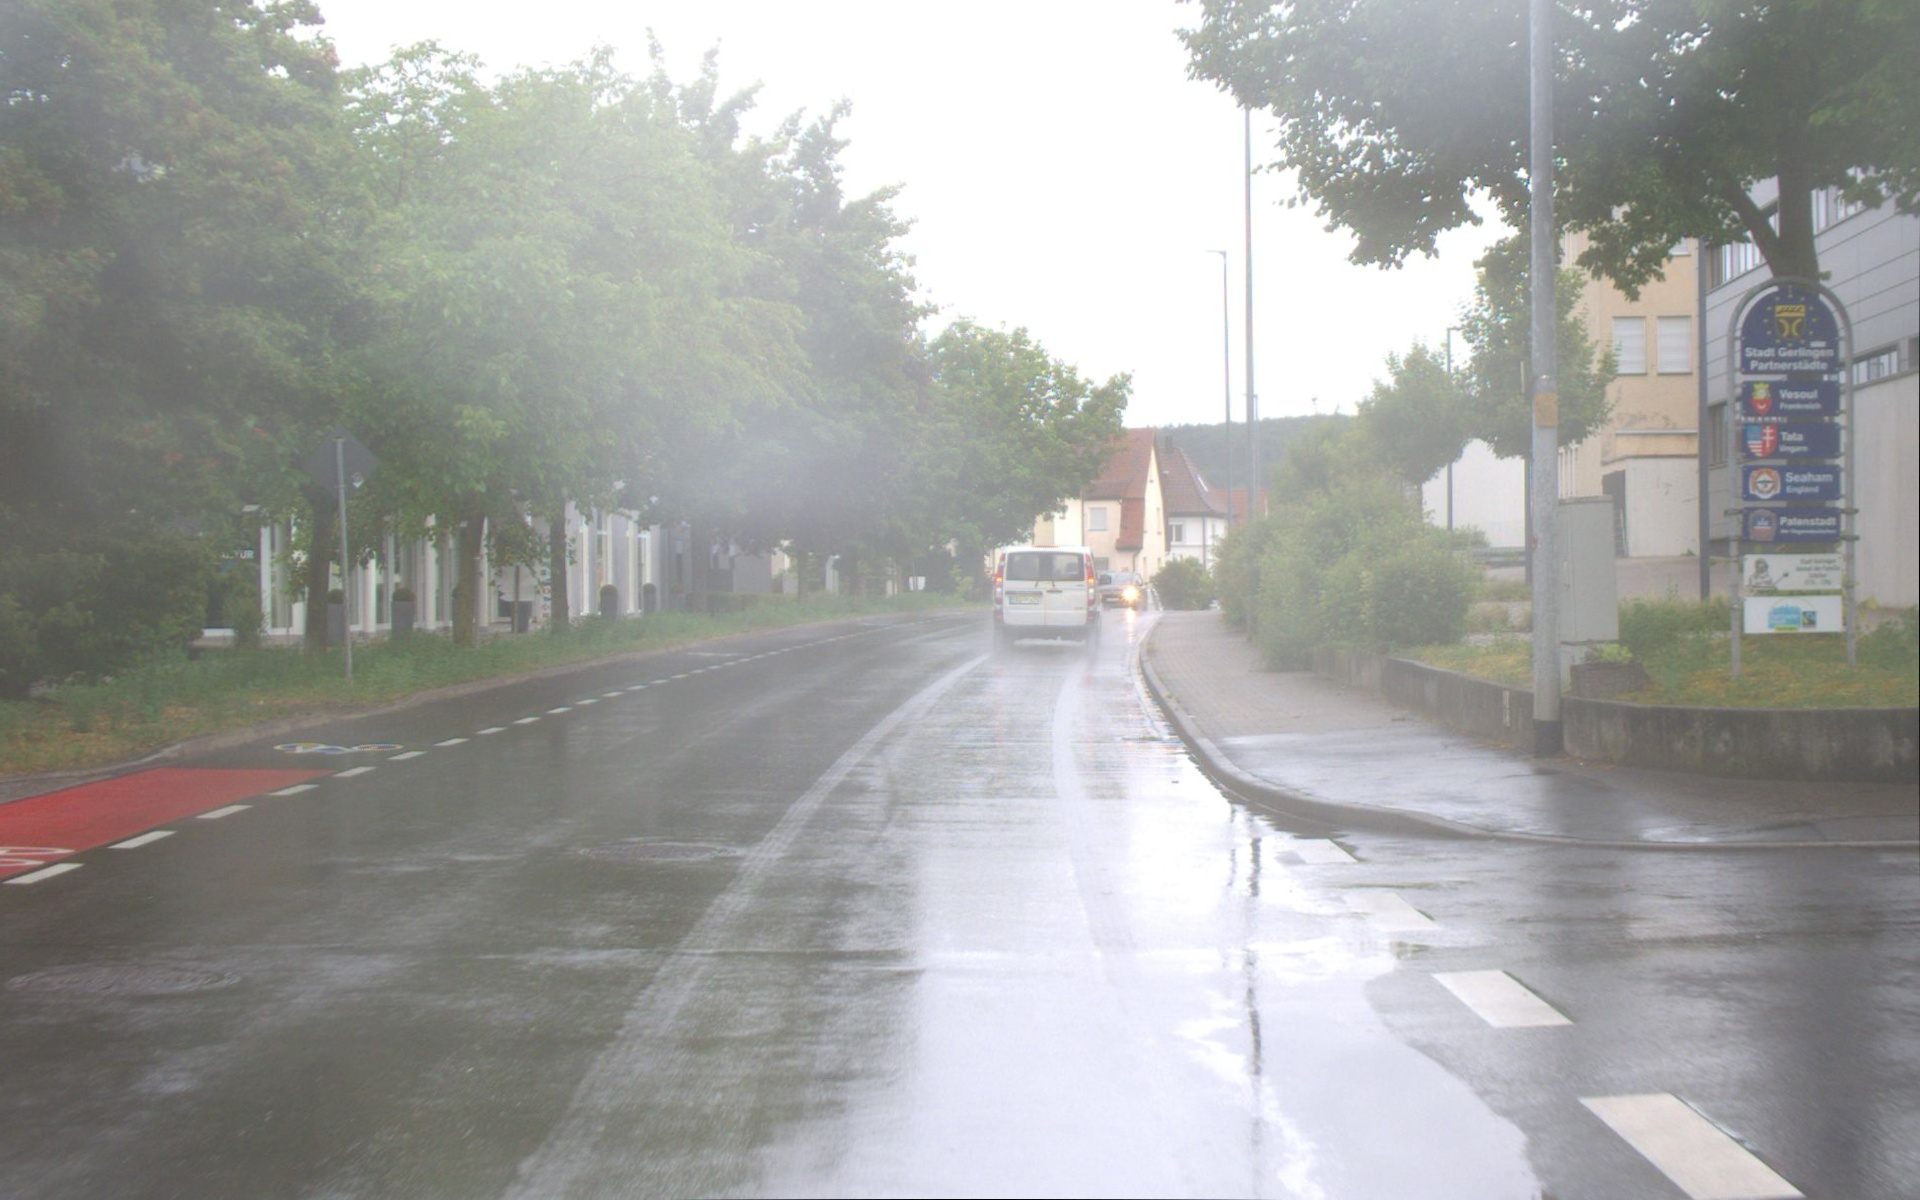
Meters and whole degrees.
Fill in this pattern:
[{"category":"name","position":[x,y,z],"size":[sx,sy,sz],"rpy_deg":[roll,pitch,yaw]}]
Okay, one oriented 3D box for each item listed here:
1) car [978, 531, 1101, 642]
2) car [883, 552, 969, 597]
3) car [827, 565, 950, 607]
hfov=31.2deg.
[{"category":"car","position":[1.435,-0.283,62.054],"size":[2.117,1.881,4.502],"rpy_deg":[1,1,1]},{"category":"car","position":[-1.204,-0.899,123.213],"size":[2.909,1.450,1.253],"rpy_deg":[-2,-3,6]},{"category":"car","position":[-2.373,-0.466,114.763],"size":[3.901,1.280,1.581],"rpy_deg":[-2,-1,6]}]
